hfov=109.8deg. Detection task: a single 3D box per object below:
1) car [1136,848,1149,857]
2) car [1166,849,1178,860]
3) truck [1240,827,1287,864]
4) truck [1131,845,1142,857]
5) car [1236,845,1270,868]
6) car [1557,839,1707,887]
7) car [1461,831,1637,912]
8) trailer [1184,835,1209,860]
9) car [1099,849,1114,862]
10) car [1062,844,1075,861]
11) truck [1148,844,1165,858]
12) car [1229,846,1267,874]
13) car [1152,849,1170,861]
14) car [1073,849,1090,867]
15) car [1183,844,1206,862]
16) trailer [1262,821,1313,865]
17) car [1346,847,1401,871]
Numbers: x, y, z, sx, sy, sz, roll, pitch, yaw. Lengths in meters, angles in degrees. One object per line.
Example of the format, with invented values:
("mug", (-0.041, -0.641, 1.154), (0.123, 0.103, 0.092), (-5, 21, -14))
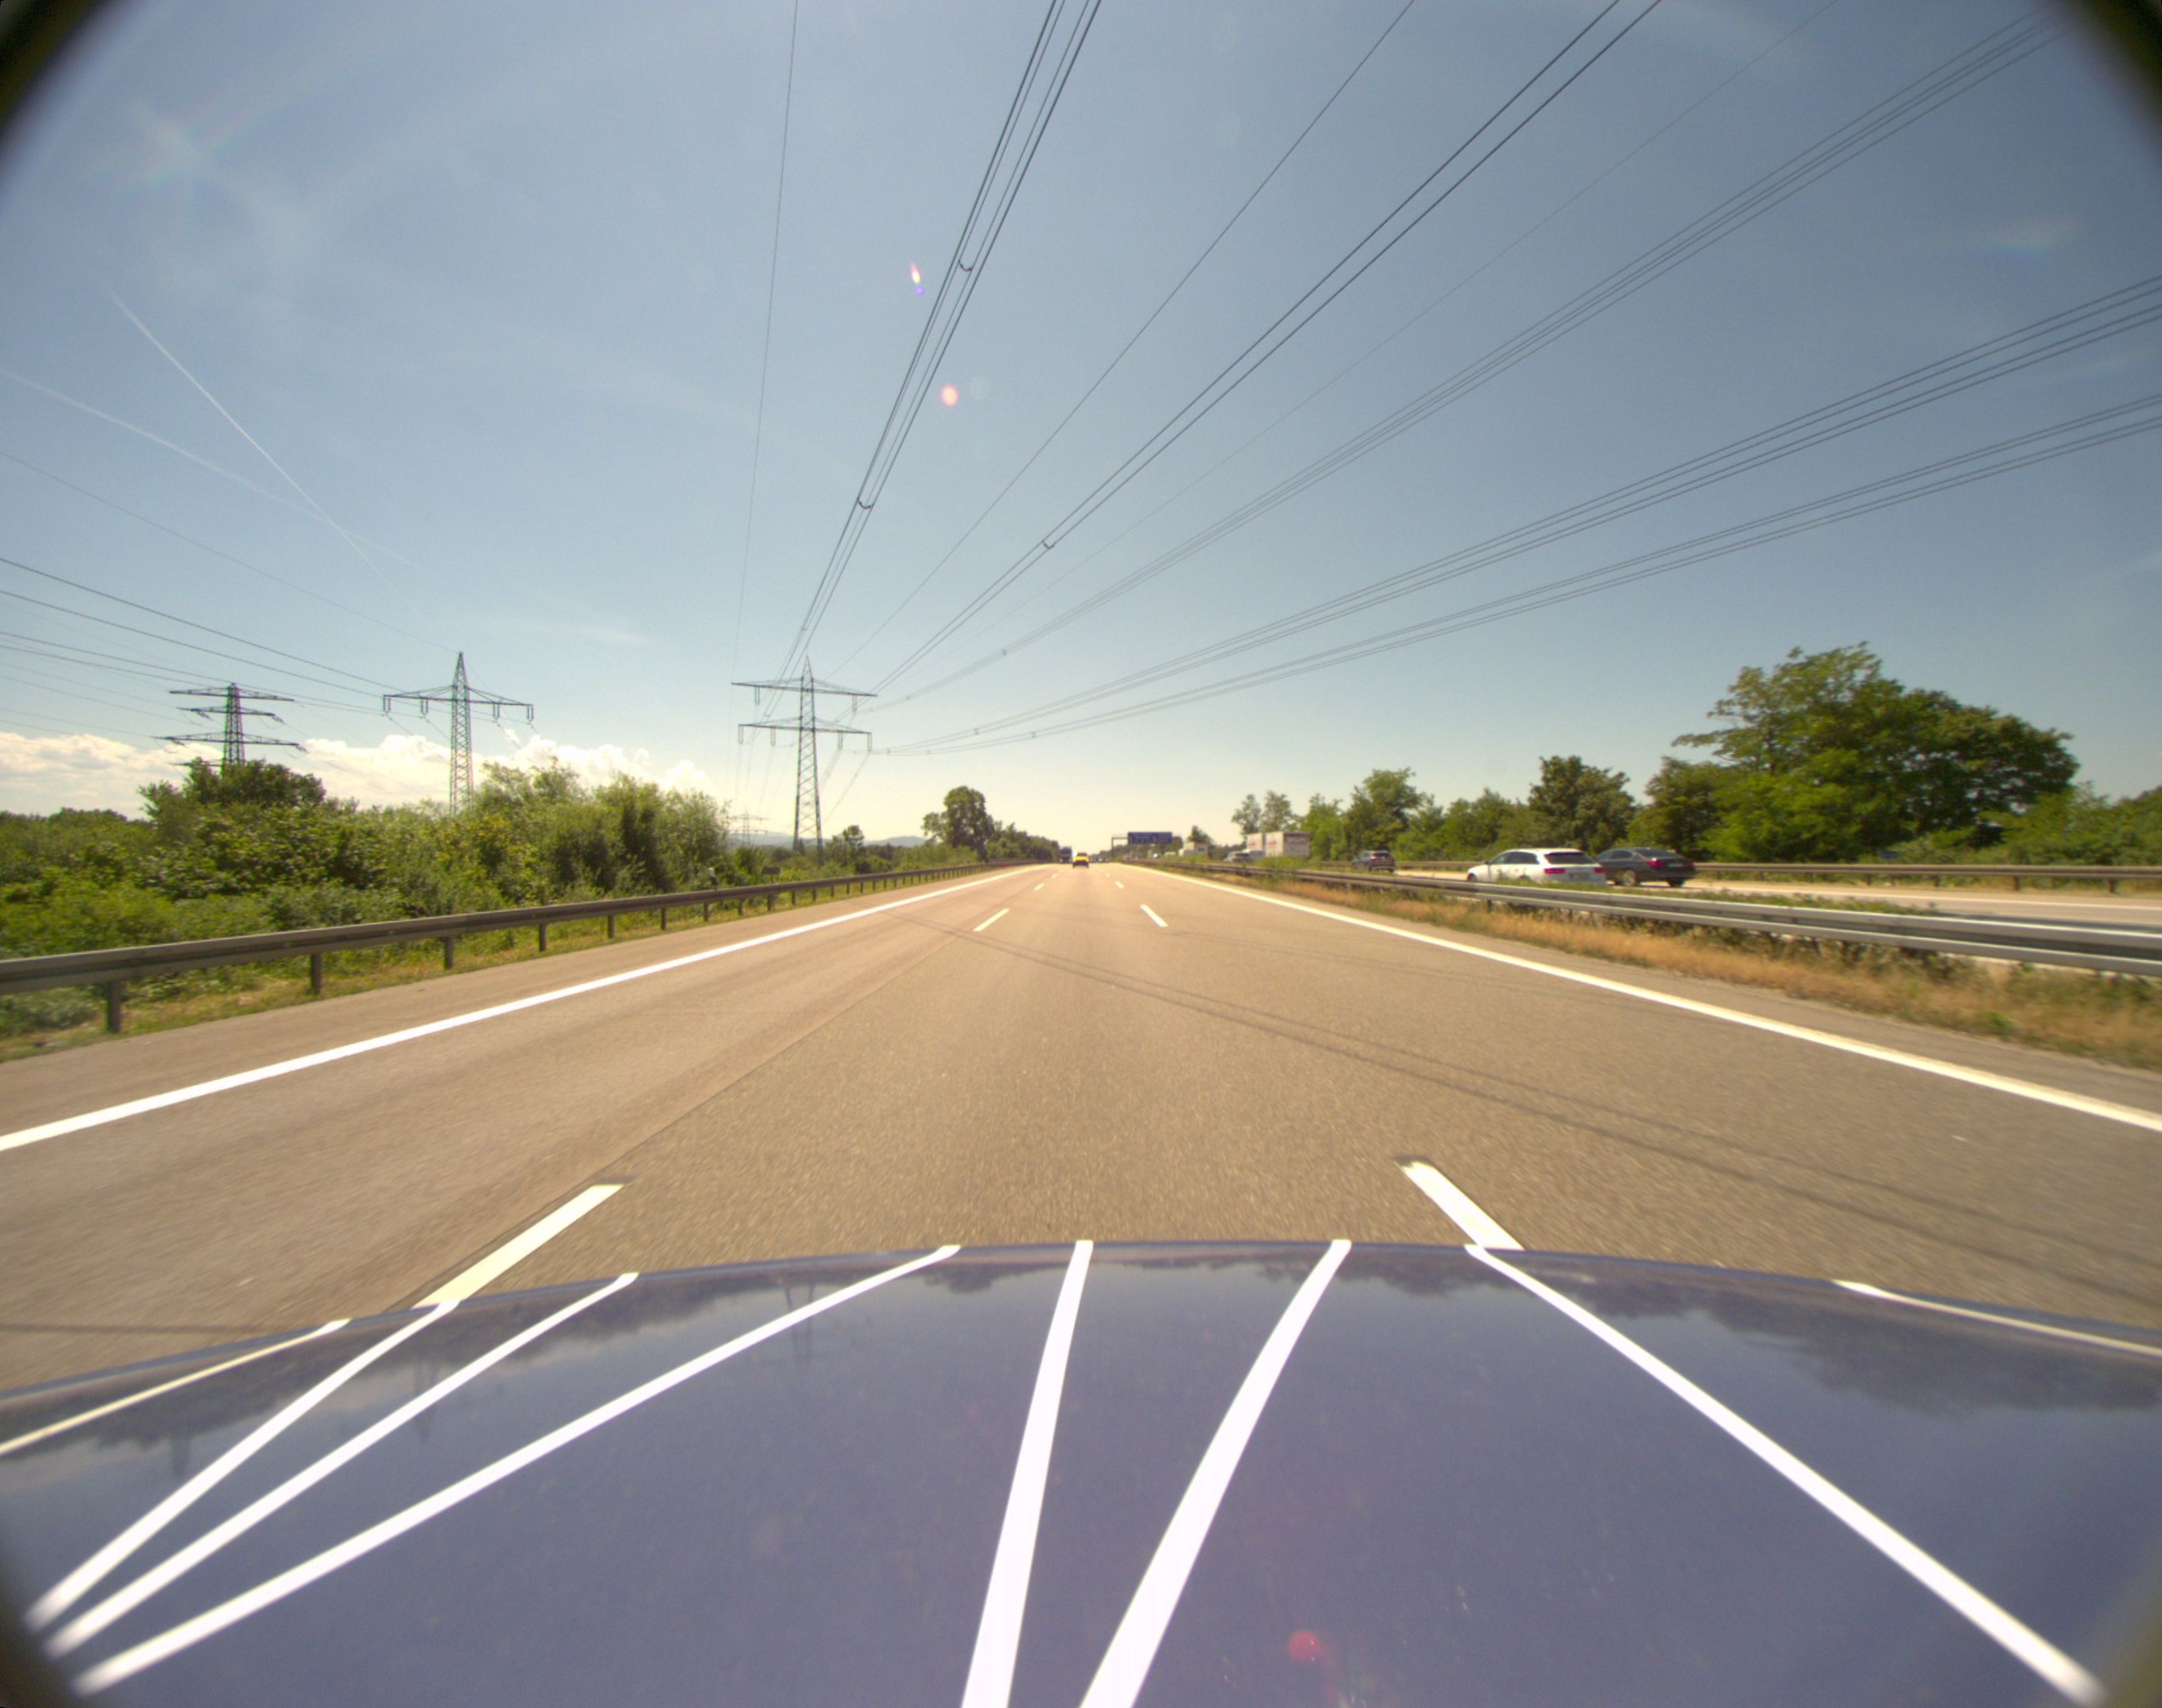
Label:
("car", (13.720, -0.392, 169.691), (2.489, 1.920, 5.739), (-2, 0, 0))
("car", (22.245, 0.029, 185.693), (2.424, 2.599, 5.716), (0, 0, 0))
("truck", (20.800, -0.901, 87.086), (2.699, 3.926, 10.593), (-2, 0, 0))
("truck", (18.122, -0.935, 249.560), (2.863, 3.896, 9.494), (-2, 1, 1))
("car", (16.559, 0.242, 73.441), (1.998, 2.002, 5.701), (-2, 0, 1))
("car", (20.857, 0.298, 29.124), (1.999, 1.652, 5.087), (0, 0, -1))
("car", (13.098, 0.450, 21.715), (1.998, 2.002, 4.921), (-2, 0, 1))
("trailer", (21.523, -1.165, 142.640), (2.429, 4.264, 14.432), (-2, 0, 0))
("car", (4.969, 0.321, 150.349), (2.686, 2.509, 5.967), (-1, 0, 0))
("car", (-2.615, -0.299, 163.963), (2.686, 3.723, 6.271), (-1, 0, 0))
("truck", (21.988, -0.881, 221.808), (3.252, 3.780, 17.013), (-2, 0, 1))
("car", (13.199, 0.461, 60.191), (1.998, 2.002, 4.626), (-2, 0, 1))
("car", (14.037, 0.226, 133.673), (2.489, 2.002, 4.557), (-2, 0, 0))
("car", (0.098, 0.498, 89.774), (1.955, 2.002, 5.433), (-1, 0, 0))
("car", (17.793, -0.144, 119.515), (2.489, 2.564, 7.121), (-2, 0, 0))
("trailer", (20.943, -1.055, 77.608), (2.848, 4.140, 8.327), (-2, 0, 0))
("car", (20.965, 0.347, 54.738), (1.998, 1.576, 5.067), (-2, 0, 1))
